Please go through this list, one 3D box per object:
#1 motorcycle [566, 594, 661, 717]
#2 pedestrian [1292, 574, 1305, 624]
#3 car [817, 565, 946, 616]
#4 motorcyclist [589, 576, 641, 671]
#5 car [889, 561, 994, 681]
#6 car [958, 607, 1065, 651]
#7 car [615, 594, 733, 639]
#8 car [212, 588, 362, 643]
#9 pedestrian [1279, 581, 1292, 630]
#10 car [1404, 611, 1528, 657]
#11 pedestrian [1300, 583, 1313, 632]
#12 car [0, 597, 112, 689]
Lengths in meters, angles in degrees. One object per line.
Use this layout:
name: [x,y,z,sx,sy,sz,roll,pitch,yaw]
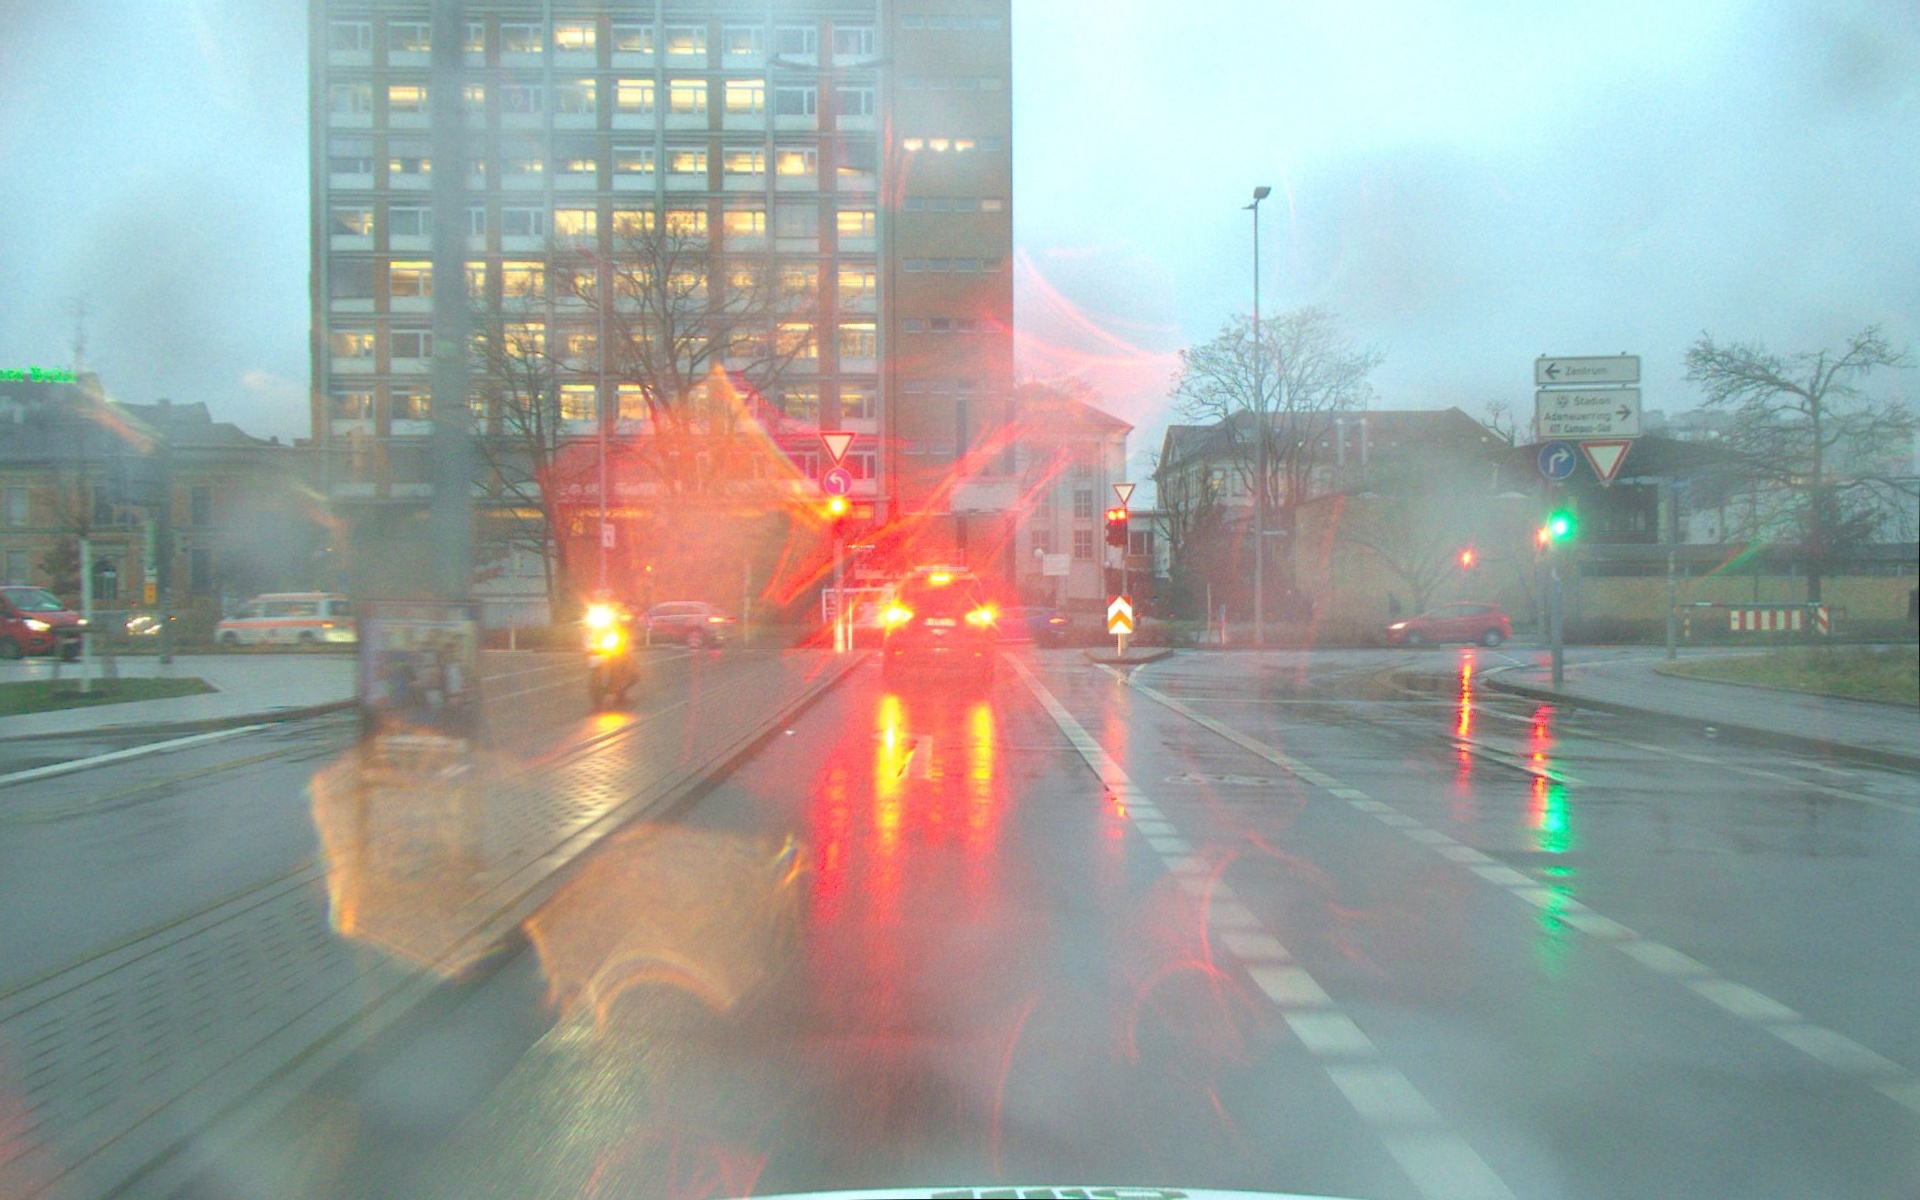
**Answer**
motorcycle: [-4.505,0.684,21.656,0.812,1.523,2.313,-1,0,-2]
pedestrian: [12.932,-0.029,63.188,0.448,1.871,0.439,1,-2,17]
car: [-3.438,-0.414,73.063,5.429,2.060,2.001,1,-2,5]
motorcyclist: [-4.476,0.307,21.477,0.525,1.214,0.611,1,-2,-1]
car: [-0.303,0.310,27.814,1.613,1.850,4.000,1,1,0]
car: [1.751,0.970,55.919,3.338,1.423,1.470,1,-1,15]
car: [-10.121,0.598,58.539,3.833,1.512,1.470,1,-2,15]
car: [-25.386,0.562,62.398,5.045,1.947,2.001,1,0,15]
pedestrian: [12.687,0.216,64.493,0.428,1.871,0.460,1,-2,17]
car: [16.375,1.106,53.633,3.709,1.423,1.566,1,-2,12]
pedestrian: [13.440,0.284,64.156,0.428,1.871,0.460,1,-2,18]
car: [-25.554,1.114,44.125,4.915,2.321,2.259,1,-2,16]
